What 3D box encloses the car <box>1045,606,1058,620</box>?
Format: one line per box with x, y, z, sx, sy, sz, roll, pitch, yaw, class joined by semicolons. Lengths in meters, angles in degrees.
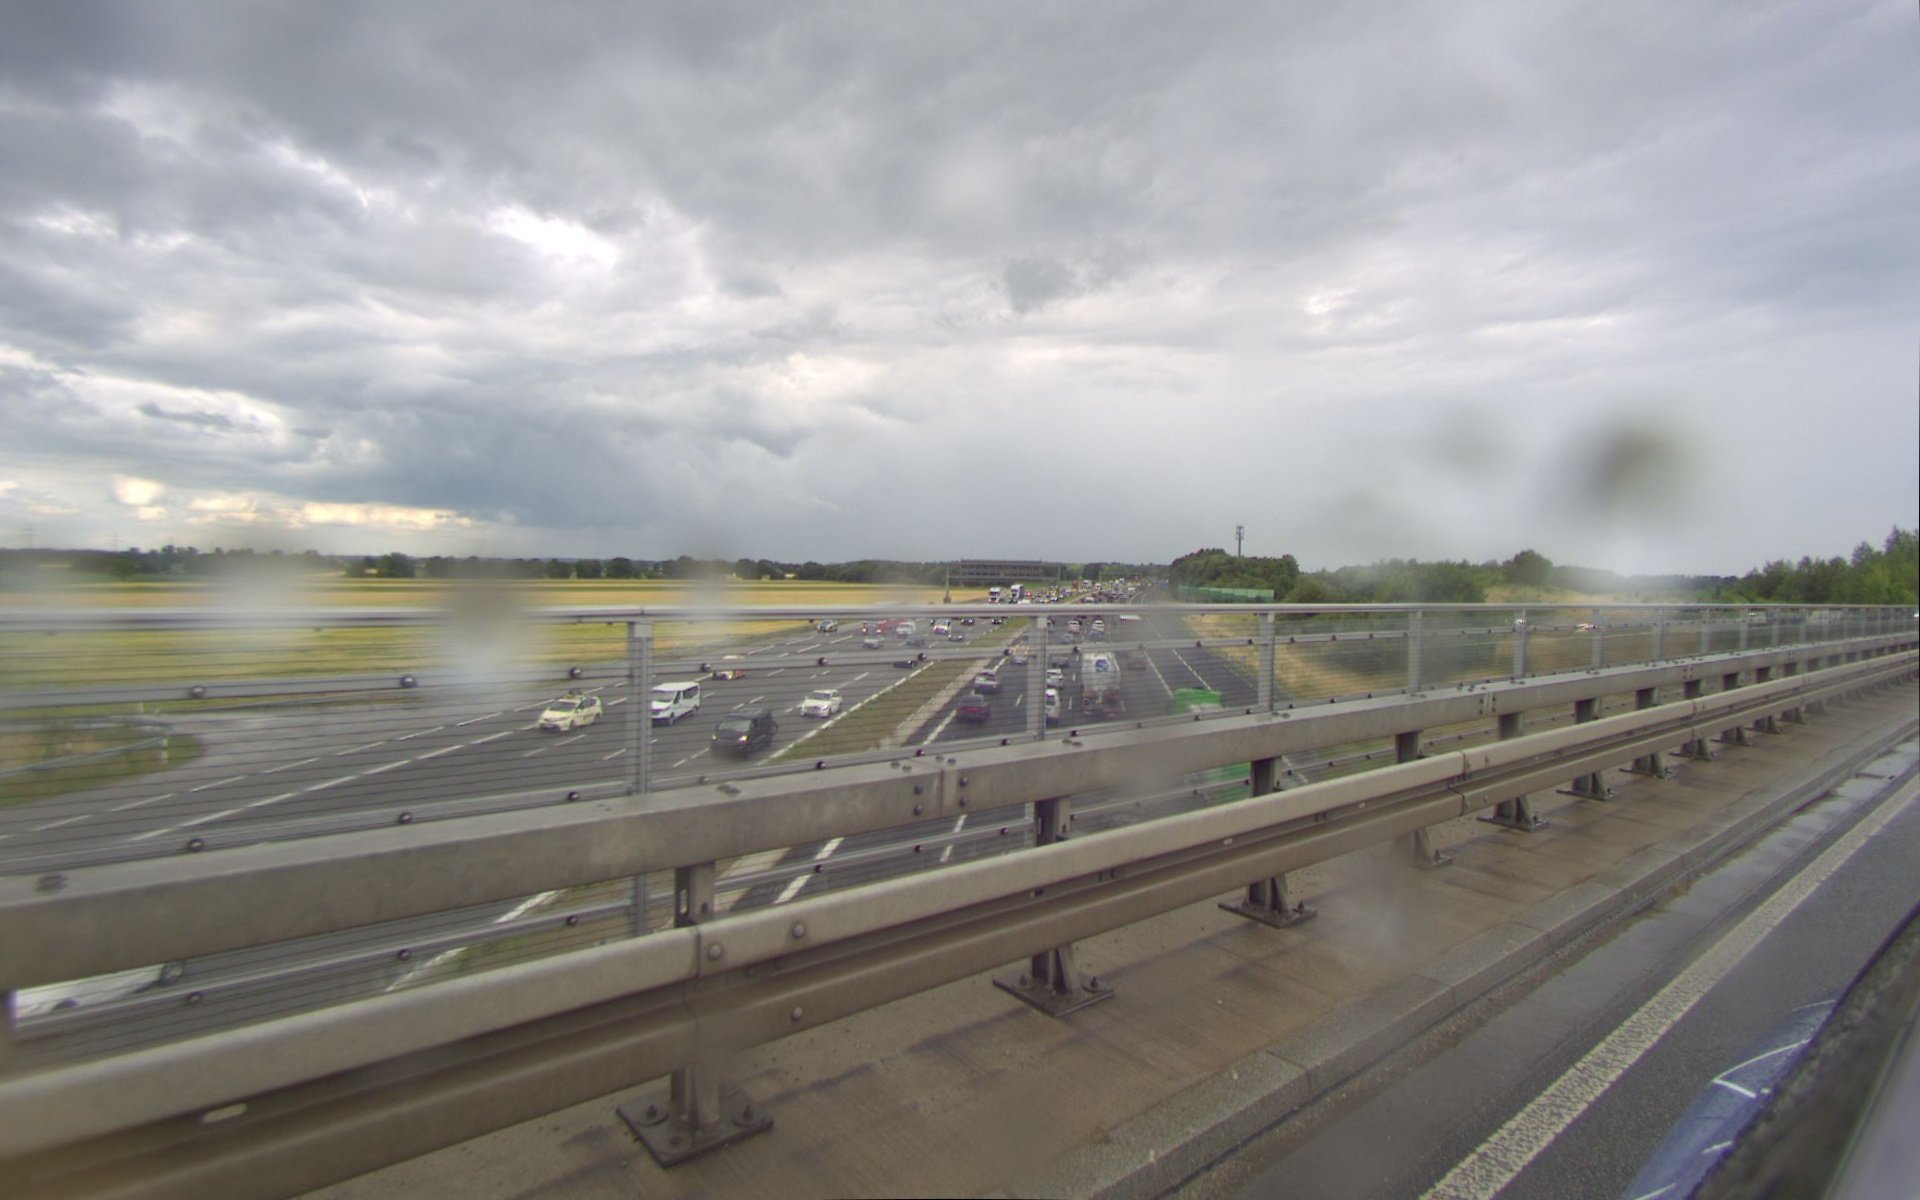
14.924;2.139;164.935;1.965;2.039;3.994;-3;0;6;car

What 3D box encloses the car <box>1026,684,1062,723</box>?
5.101;6.200;61.006;1.826;1.796;4.713;0;1;9;car

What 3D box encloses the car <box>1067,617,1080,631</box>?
16.949;3.558;151.172;1.826;1.796;4.713;0;1;9;car

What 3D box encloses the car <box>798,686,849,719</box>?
-8.553;6.408;63.710;1.786;1.504;4.710;0;1;11;car

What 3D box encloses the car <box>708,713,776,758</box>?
-10.686;6.623;49.951;1.784;1.504;4.715;0;1;7;car

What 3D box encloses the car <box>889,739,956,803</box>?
-1.409;6.739;40.358;1.826;1.689;4.713;0;1;9;car

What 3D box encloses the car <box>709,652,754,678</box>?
-18.028;5.108;80.111;1.785;1.689;4.710;0;1;11;car

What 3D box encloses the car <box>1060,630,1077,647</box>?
13.079;4.661;121.579;1.826;1.796;4.713;0;1;9;car

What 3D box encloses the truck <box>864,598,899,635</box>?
-10.385;2.082;134.478;2.641;4.684;9.732;0;1;8;truck

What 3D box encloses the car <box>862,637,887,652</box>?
-9.618;4.981;114.059;1.784;1.454;4.715;0;1;7;car

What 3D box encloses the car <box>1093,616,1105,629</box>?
21.494;3.426;156.055;1.826;1.796;4.713;0;1;9;car

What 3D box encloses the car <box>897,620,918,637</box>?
-6.662;3.610;129.265;1.784;1.907;4.715;0;1;7;car

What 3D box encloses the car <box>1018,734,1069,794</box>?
3.592;6.873;42.956;1.826;1.689;4.713;0;1;9;car

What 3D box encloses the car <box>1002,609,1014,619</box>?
9.142;2.673;191.364;1.826;1.689;4.713;0;1;9;car

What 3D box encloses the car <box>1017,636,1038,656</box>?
7.292;4.911;108.652;1.826;1.796;4.713;0;1;9;car

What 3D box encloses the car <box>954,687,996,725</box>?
0.916;6.204;59.631;1.826;1.689;4.713;0;1;9;car

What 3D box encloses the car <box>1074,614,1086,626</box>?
20.013;3.285;169.268;1.826;1.796;4.713;0;1;9;car

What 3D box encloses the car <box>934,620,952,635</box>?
-2.287;3.746;139.549;1.784;1.870;4.715;0;1;7;car

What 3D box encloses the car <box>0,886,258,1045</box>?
-17.518;7.504;21.328;1.784;1.504;4.715;0;1;7;car

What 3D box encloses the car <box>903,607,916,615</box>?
-9.457;2.071;189.576;1.784;1.454;4.715;0;1;7;car

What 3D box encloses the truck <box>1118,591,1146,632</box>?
23.956;1.441;141.637;3.434;5.419;15.596;0;1;8;truck

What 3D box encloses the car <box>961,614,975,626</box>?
1.327;3.265;165.298;1.784;1.689;4.714;0;1;8;car

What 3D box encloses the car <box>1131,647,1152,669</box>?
17.243;5.488;96.518;1.826;1.796;4.713;0;1;9;car

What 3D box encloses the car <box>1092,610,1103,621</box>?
24.019;2.680;177.066;1.826;1.796;4.713;0;1;9;car

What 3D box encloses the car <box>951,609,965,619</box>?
-0.378;2.514;179.079;1.784;1.689;4.714;0;1;8;car

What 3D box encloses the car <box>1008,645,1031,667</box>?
5.690;5.341;96.679;1.826;1.796;4.713;0;1;9;car

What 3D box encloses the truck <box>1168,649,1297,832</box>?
10.893;5.138;42.297;3.241;5.229;15.596;0;1;8;truck

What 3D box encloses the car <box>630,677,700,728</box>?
-16.843;5.805;58.066;1.965;2.248;5.548;0;1;5;car

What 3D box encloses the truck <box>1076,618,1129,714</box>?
9.964;4.262;71.053;3.241;5.510;15.596;0;1;8;truck

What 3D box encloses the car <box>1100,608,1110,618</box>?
27.752;2.562;194.027;1.826;1.796;4.713;0;1;9;car

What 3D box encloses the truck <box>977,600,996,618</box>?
4.973;1.732;190.803;2.553;3.219;8.375;0;1;9;truck

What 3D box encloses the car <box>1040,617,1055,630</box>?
12.895;3.448;149.093;1.826;1.796;4.713;0;1;9;car

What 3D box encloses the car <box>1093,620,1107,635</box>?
19.353;3.809;139.832;1.826;1.796;4.713;0;1;9;car

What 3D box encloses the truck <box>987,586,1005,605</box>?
9.472;-1.280;264.488;2.751;4.961;12.712;0;1;12;truck

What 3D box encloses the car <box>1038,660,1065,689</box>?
7.054;5.652;77.719;1.826;1.796;4.713;0;1;9;car

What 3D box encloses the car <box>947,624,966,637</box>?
-0.375;3.800;128.442;1.784;1.454;4.715;0;1;7;car

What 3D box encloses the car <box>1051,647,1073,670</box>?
9.571;5.486;95.059;1.826;1.796;4.713;0;1;9;car

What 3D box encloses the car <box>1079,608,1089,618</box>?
23.744;2.525;193.690;1.826;1.796;4.713;0;1;9;car

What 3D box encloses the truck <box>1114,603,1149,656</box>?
19.754;3.228;117.248;3.434;5.419;15.596;0;1;8;truck

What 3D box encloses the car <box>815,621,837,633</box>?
-18.072;3.586;136.422;1.784;1.454;4.715;0;1;7;car

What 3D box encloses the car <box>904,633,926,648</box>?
-5.315;4.742;119.522;1.784;1.454;4.715;0;1;7;car

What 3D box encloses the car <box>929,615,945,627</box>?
-3.559;3.290;158.857;1.784;1.689;4.714;0;1;8;car

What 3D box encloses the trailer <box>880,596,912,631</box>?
-9.064;1.847;144.141;2.641;4.687;9.887;0;1;8;trailer

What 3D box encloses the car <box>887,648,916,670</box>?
-5.384;5.425;93.728;1.785;1.689;4.712;0;1;9;car

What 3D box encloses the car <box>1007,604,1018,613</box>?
10.658;1.678;205.129;1.826;1.689;4.713;0;1;9;car

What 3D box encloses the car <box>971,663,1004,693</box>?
2.056;5.624;73.519;1.826;1.796;4.713;0;1;9;car

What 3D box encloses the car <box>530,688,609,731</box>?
-21.001;5.868;54.597;1.785;1.689;4.710;0;1;11;car

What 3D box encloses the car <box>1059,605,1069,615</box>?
20.622;1.929;201.067;1.826;1.796;4.713;0;1;9;car
